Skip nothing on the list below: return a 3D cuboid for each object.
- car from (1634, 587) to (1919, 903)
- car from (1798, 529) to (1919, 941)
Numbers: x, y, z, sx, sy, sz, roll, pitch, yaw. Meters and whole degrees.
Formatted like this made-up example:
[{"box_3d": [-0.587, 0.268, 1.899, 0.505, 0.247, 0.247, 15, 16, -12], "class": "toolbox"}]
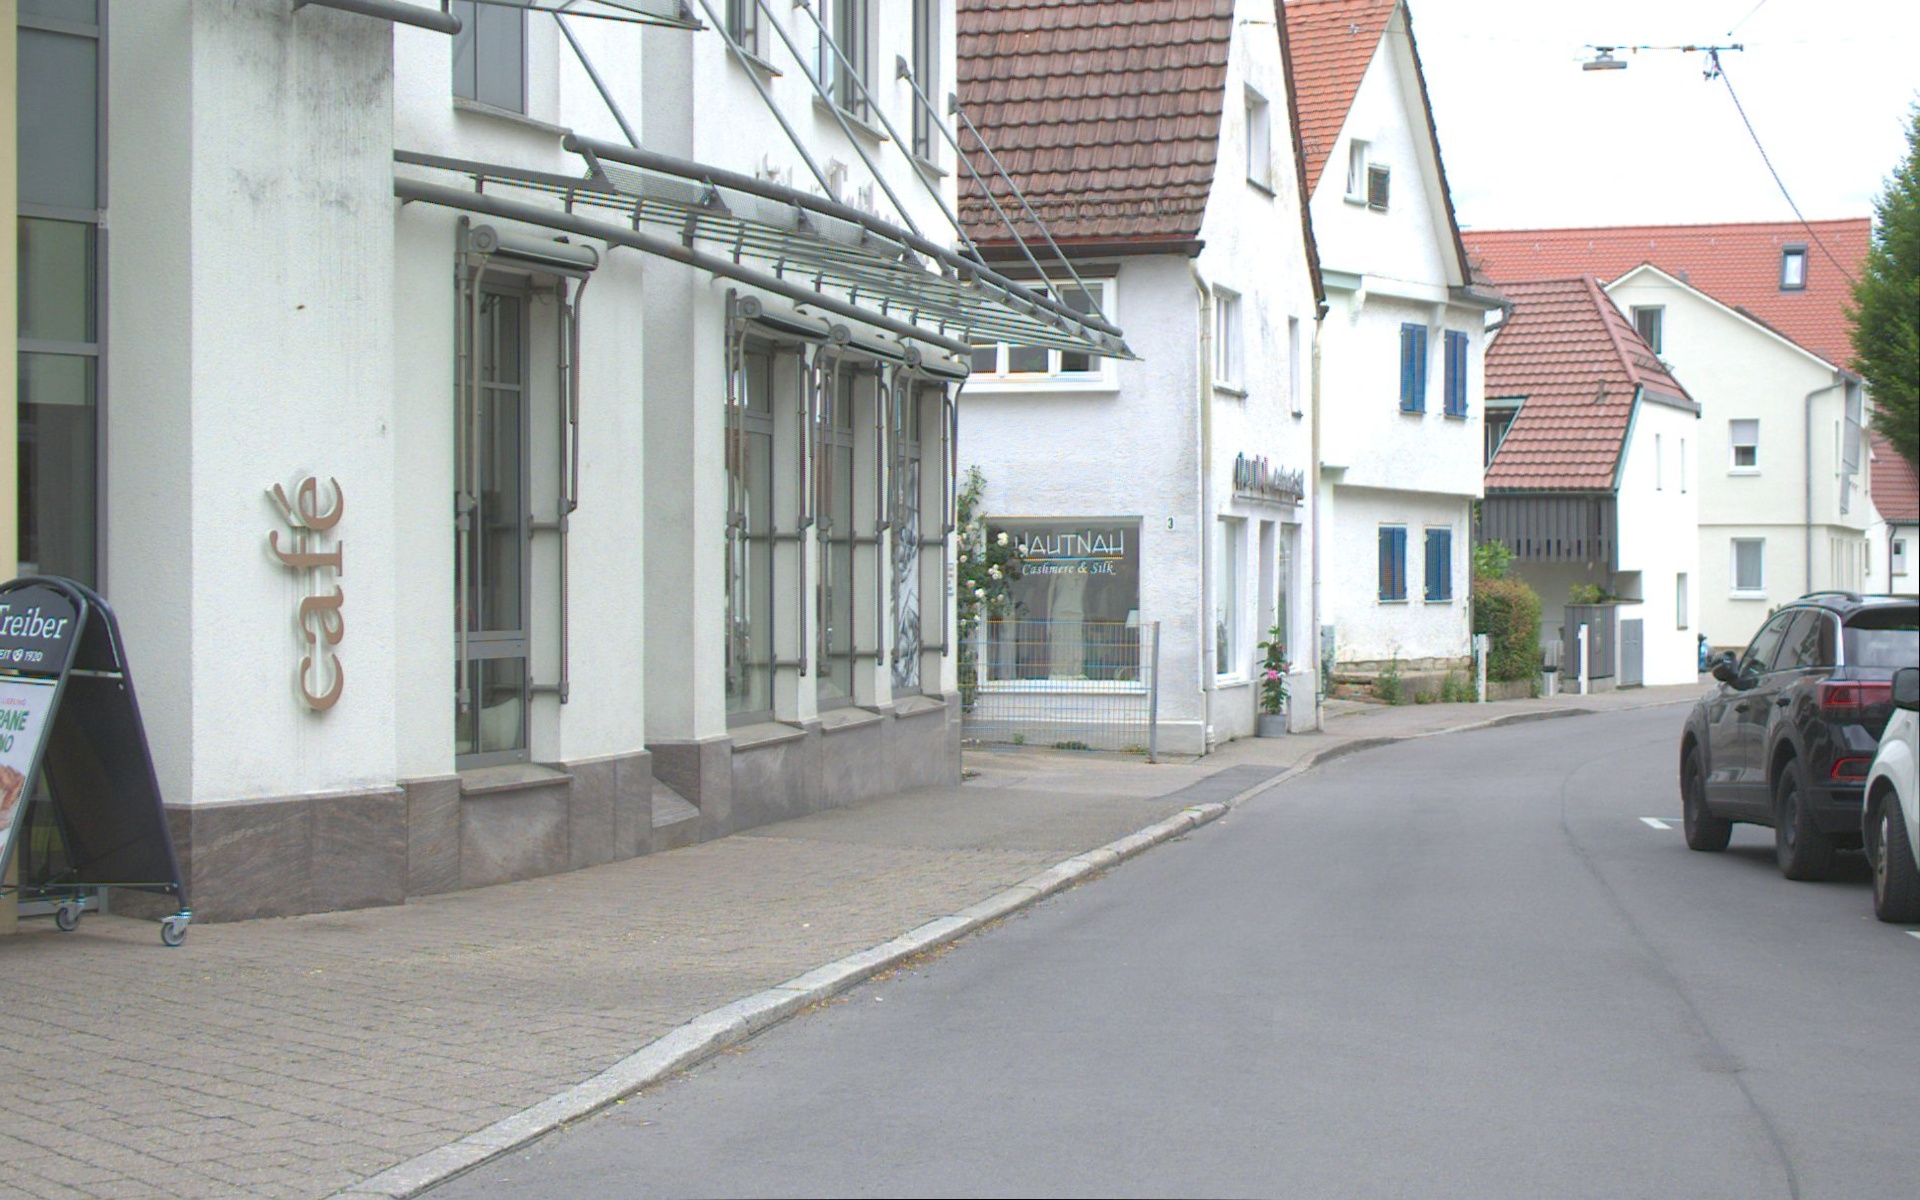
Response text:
[{"box_3d": [5.223, 0.745, 19.691, 1.788, 1.595, 4.542, 1, 0, 0], "class": "car"}, {"box_3d": [5.092, 0.600, 14.773, 1.825, 1.786, 4.219, 1, 1, -1], "class": "car"}]
